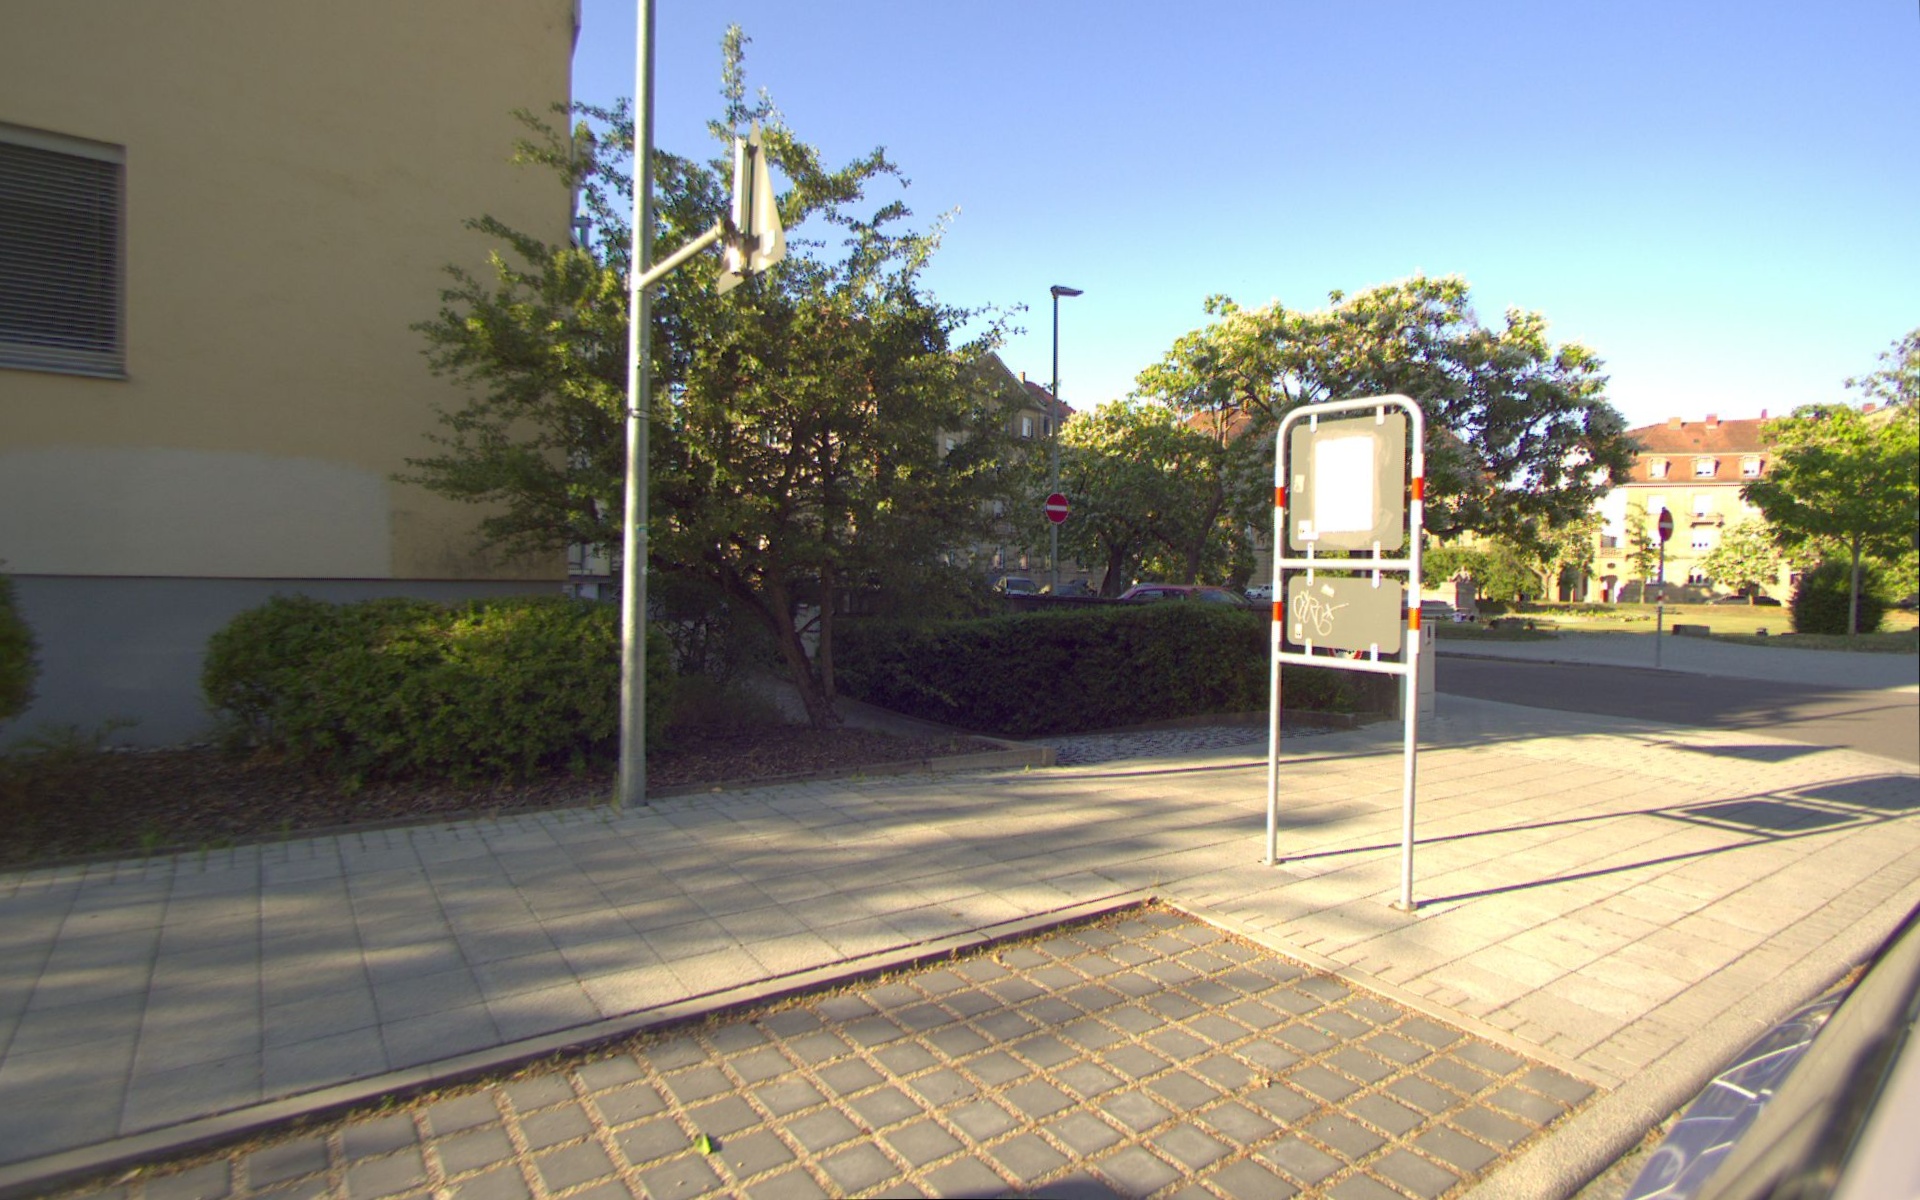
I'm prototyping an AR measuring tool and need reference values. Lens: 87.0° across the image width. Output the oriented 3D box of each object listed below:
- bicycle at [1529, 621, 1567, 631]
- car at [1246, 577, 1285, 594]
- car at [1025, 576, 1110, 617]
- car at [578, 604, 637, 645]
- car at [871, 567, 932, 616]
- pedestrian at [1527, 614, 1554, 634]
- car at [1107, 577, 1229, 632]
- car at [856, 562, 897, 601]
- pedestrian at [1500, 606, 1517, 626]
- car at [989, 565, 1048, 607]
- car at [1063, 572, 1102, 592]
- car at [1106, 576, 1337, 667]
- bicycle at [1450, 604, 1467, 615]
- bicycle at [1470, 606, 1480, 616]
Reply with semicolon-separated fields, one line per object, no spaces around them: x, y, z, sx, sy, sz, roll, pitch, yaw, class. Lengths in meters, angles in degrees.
25.698;1.117;44.244;1.895;0.387;0.660;0;1;-33;bicycle
30.844;-1.453;102.296;3.629;1.518;1.728;2;0;-29;car
3.706;-0.129;35.606;1.690;1.313;3.712;2;0;-15;car
-11.988;0.799;34.564;1.608;1.296;3.379;0;0;-14;car
-2.126;-0.330;35.820;1.672;1.596;4.055;-1;2;-10;car
24.255;1.011;42.276;0.796;0.774;0.498;2;0;4;pedestrian
6.012;0.114;29.715;1.690;1.445;4.008;2;0;-19;car
-3.946;-0.865;48.535;1.674;1.818;4.047;0;0;-1;car
24.069;0.712;44.411;0.488;0.845;0.455;0;0;-3;pedestrian
2.422;-0.572;42.976;1.691;1.648;3.710;2;0;-9;car
9.795;-1.423;80.848;1.713;1.518;3.662;2;0;32;car
4.709;0.318;18.781;1.755;1.437;4.050;-2;2;-31;car
30.923;0.603;62.792;0.892;0.660;0.437;0;0;16;bicycle
31.842;0.662;62.553;0.481;0.590;0.437;0;0;16;bicycle
